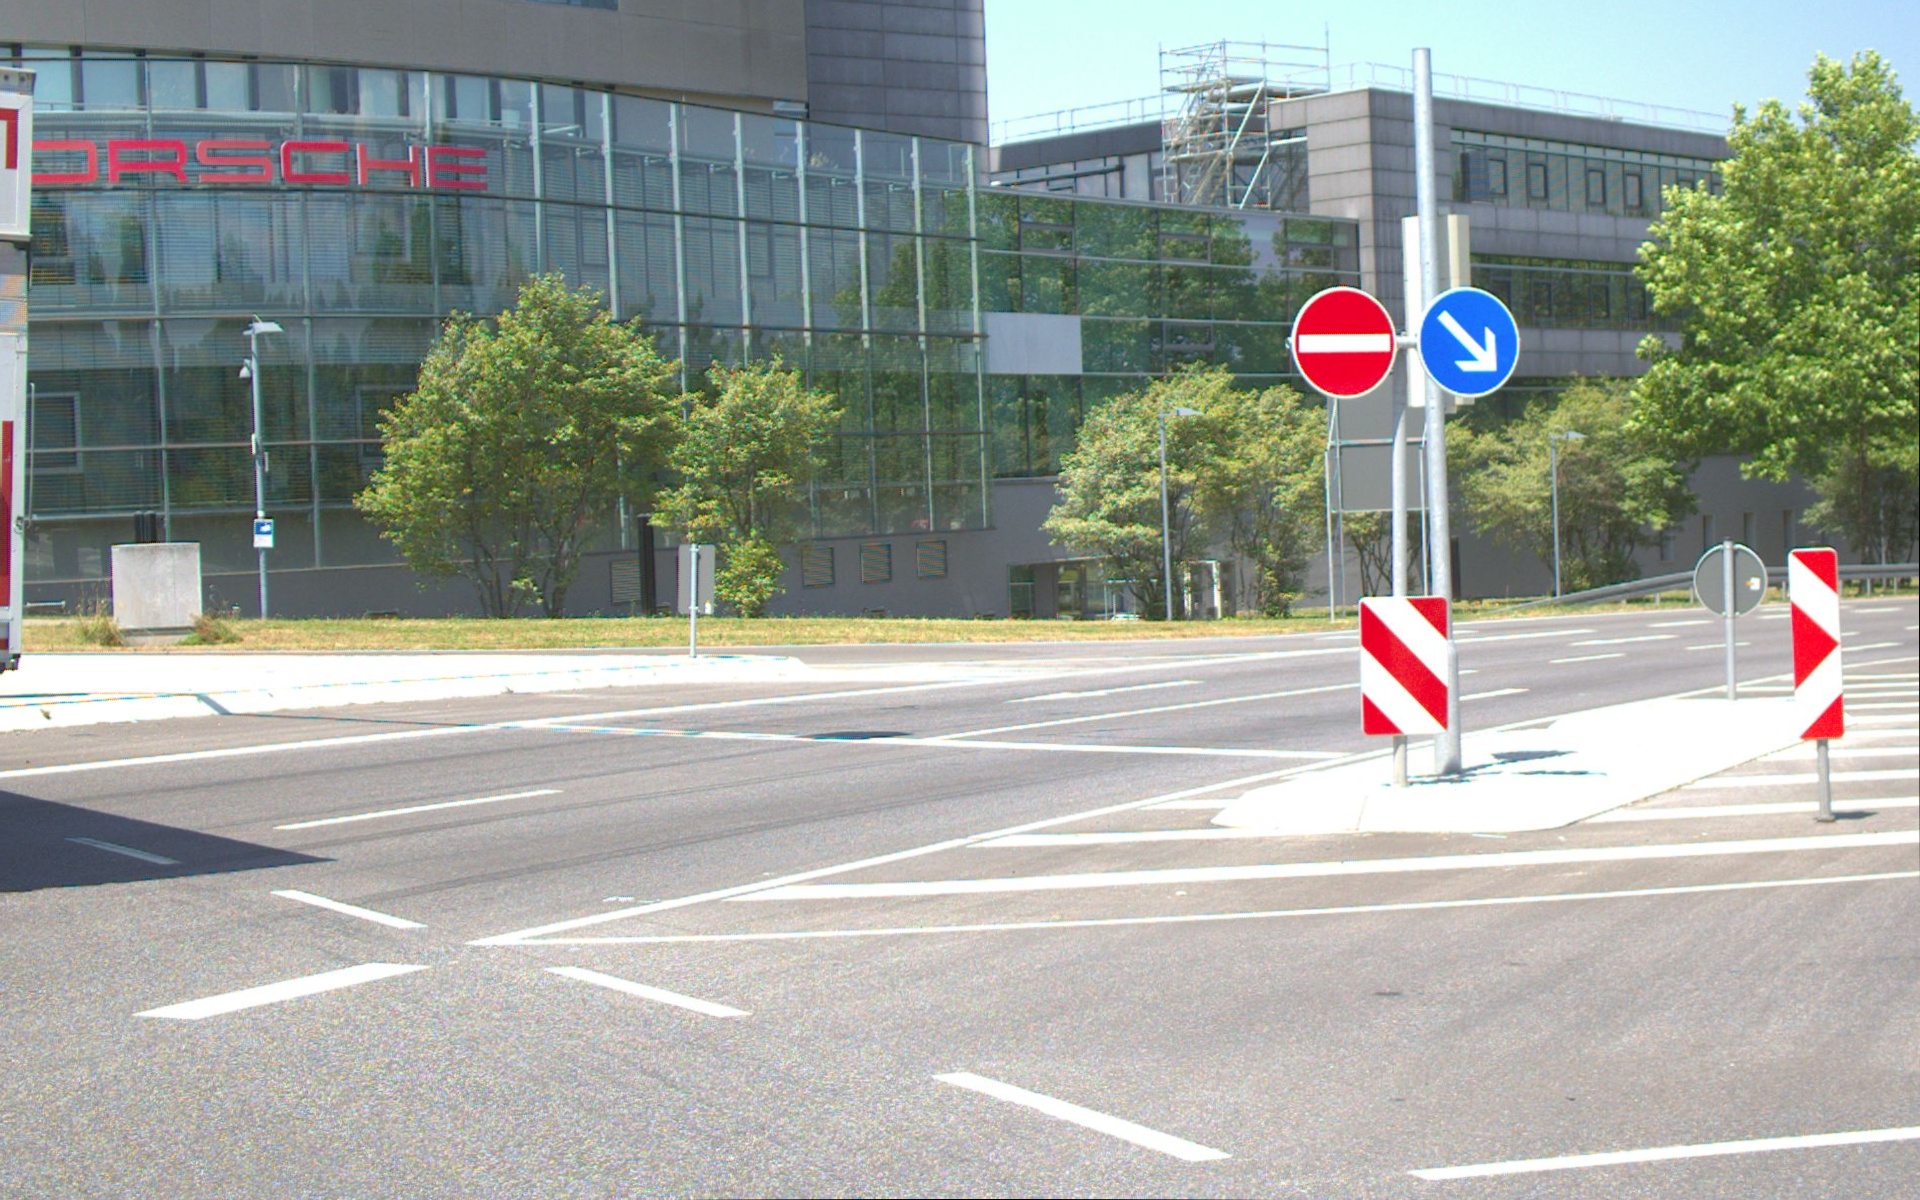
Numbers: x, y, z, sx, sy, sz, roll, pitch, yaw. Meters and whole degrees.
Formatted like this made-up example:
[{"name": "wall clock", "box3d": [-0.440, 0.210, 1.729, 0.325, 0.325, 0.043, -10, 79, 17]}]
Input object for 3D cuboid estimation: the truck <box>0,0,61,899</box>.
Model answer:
[{"name": "truck", "box3d": [-7.604, -0.691, 17.846, 2.770, 3.846, 9.370, -1, 1, -34]}]
